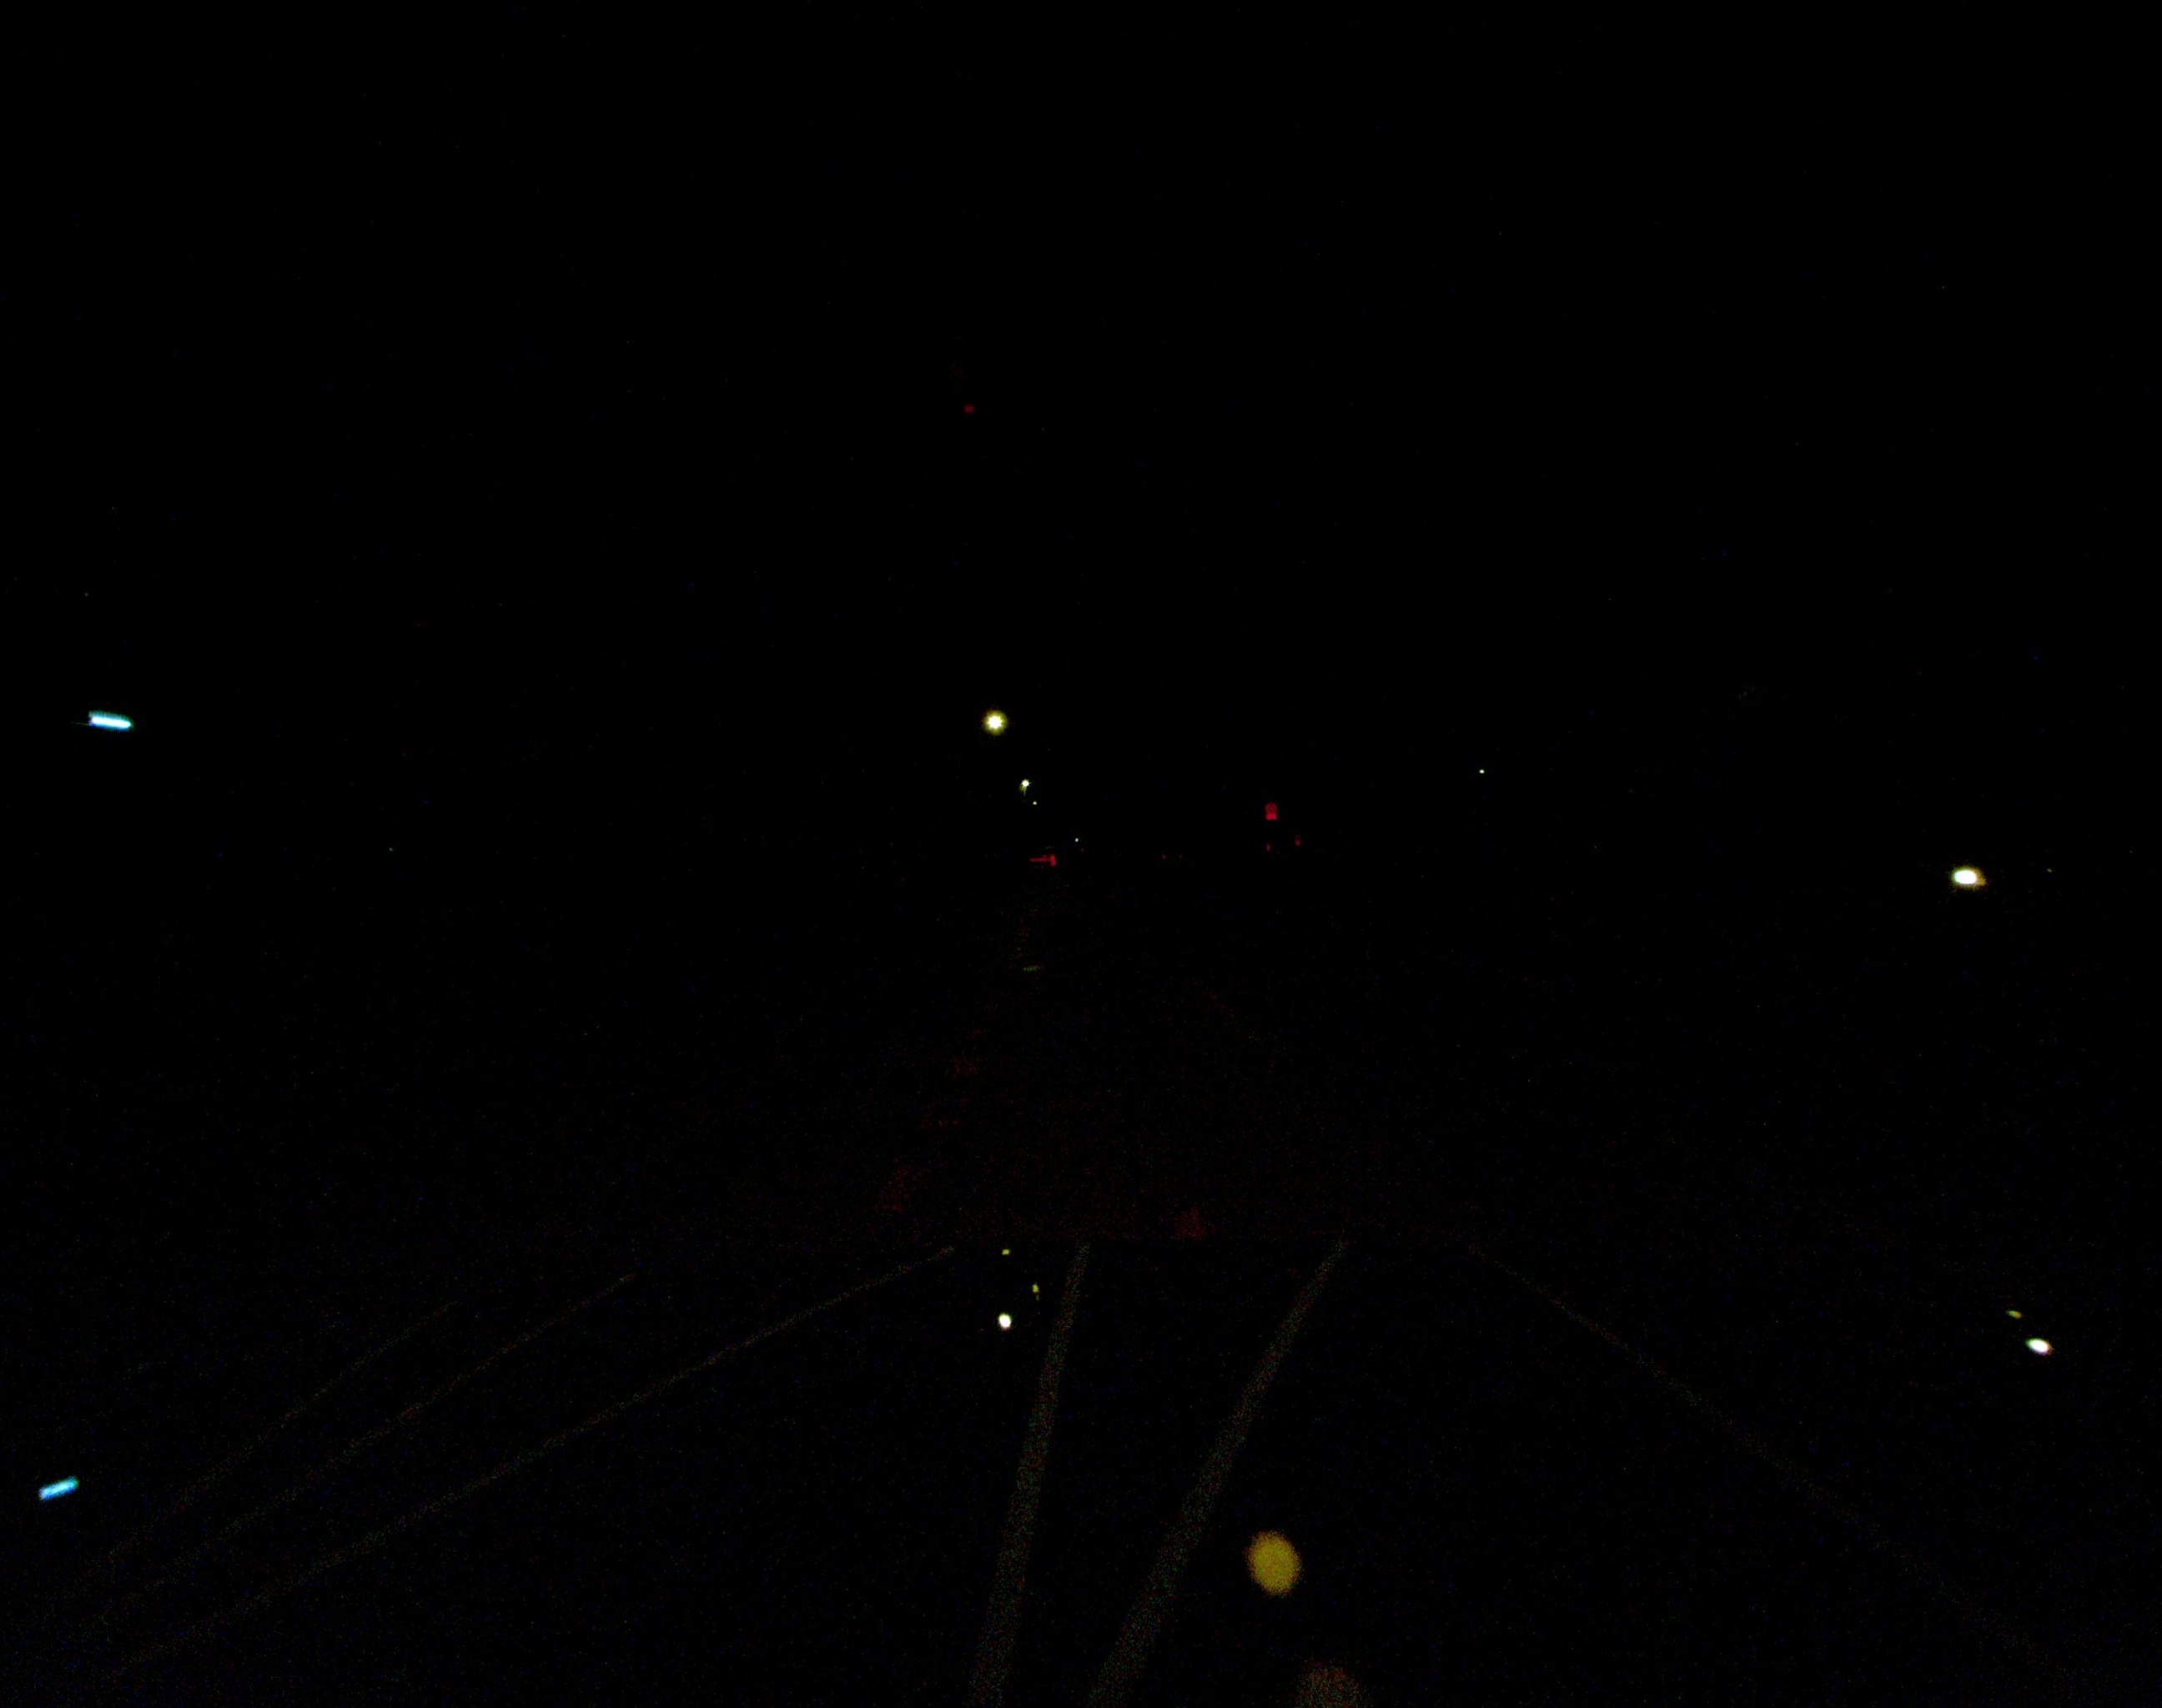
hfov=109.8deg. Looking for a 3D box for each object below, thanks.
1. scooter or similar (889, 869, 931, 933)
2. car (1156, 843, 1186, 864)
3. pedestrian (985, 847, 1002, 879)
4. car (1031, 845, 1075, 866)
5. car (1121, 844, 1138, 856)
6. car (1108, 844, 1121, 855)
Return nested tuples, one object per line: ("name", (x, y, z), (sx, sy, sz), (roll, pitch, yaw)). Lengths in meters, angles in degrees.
("scooter or similar", (-3.649, 0.983, 16.337), (0.570, 1.271, 1.391), (0, 0, 0))
("car", (7.218, -0.075, 61.030), (1.911, 1.445, 3.999), (-3, 2, 1))
("pedestrian", (-5.004, 0.517, 43.367), (0.824, 1.809, 0.608), (-3, 2, 1))
("car", (-2.565, 0.101, 70.804), (3.997, 1.821, 1.912), (-1, 2, 0))
("car", (6.392, -0.566, 100.453), (1.911, 1.445, 3.999), (-3, 2, 1))
("car", (5.159, -0.751, 118.001), (1.911, 1.445, 3.999), (-3, 2, 1))
